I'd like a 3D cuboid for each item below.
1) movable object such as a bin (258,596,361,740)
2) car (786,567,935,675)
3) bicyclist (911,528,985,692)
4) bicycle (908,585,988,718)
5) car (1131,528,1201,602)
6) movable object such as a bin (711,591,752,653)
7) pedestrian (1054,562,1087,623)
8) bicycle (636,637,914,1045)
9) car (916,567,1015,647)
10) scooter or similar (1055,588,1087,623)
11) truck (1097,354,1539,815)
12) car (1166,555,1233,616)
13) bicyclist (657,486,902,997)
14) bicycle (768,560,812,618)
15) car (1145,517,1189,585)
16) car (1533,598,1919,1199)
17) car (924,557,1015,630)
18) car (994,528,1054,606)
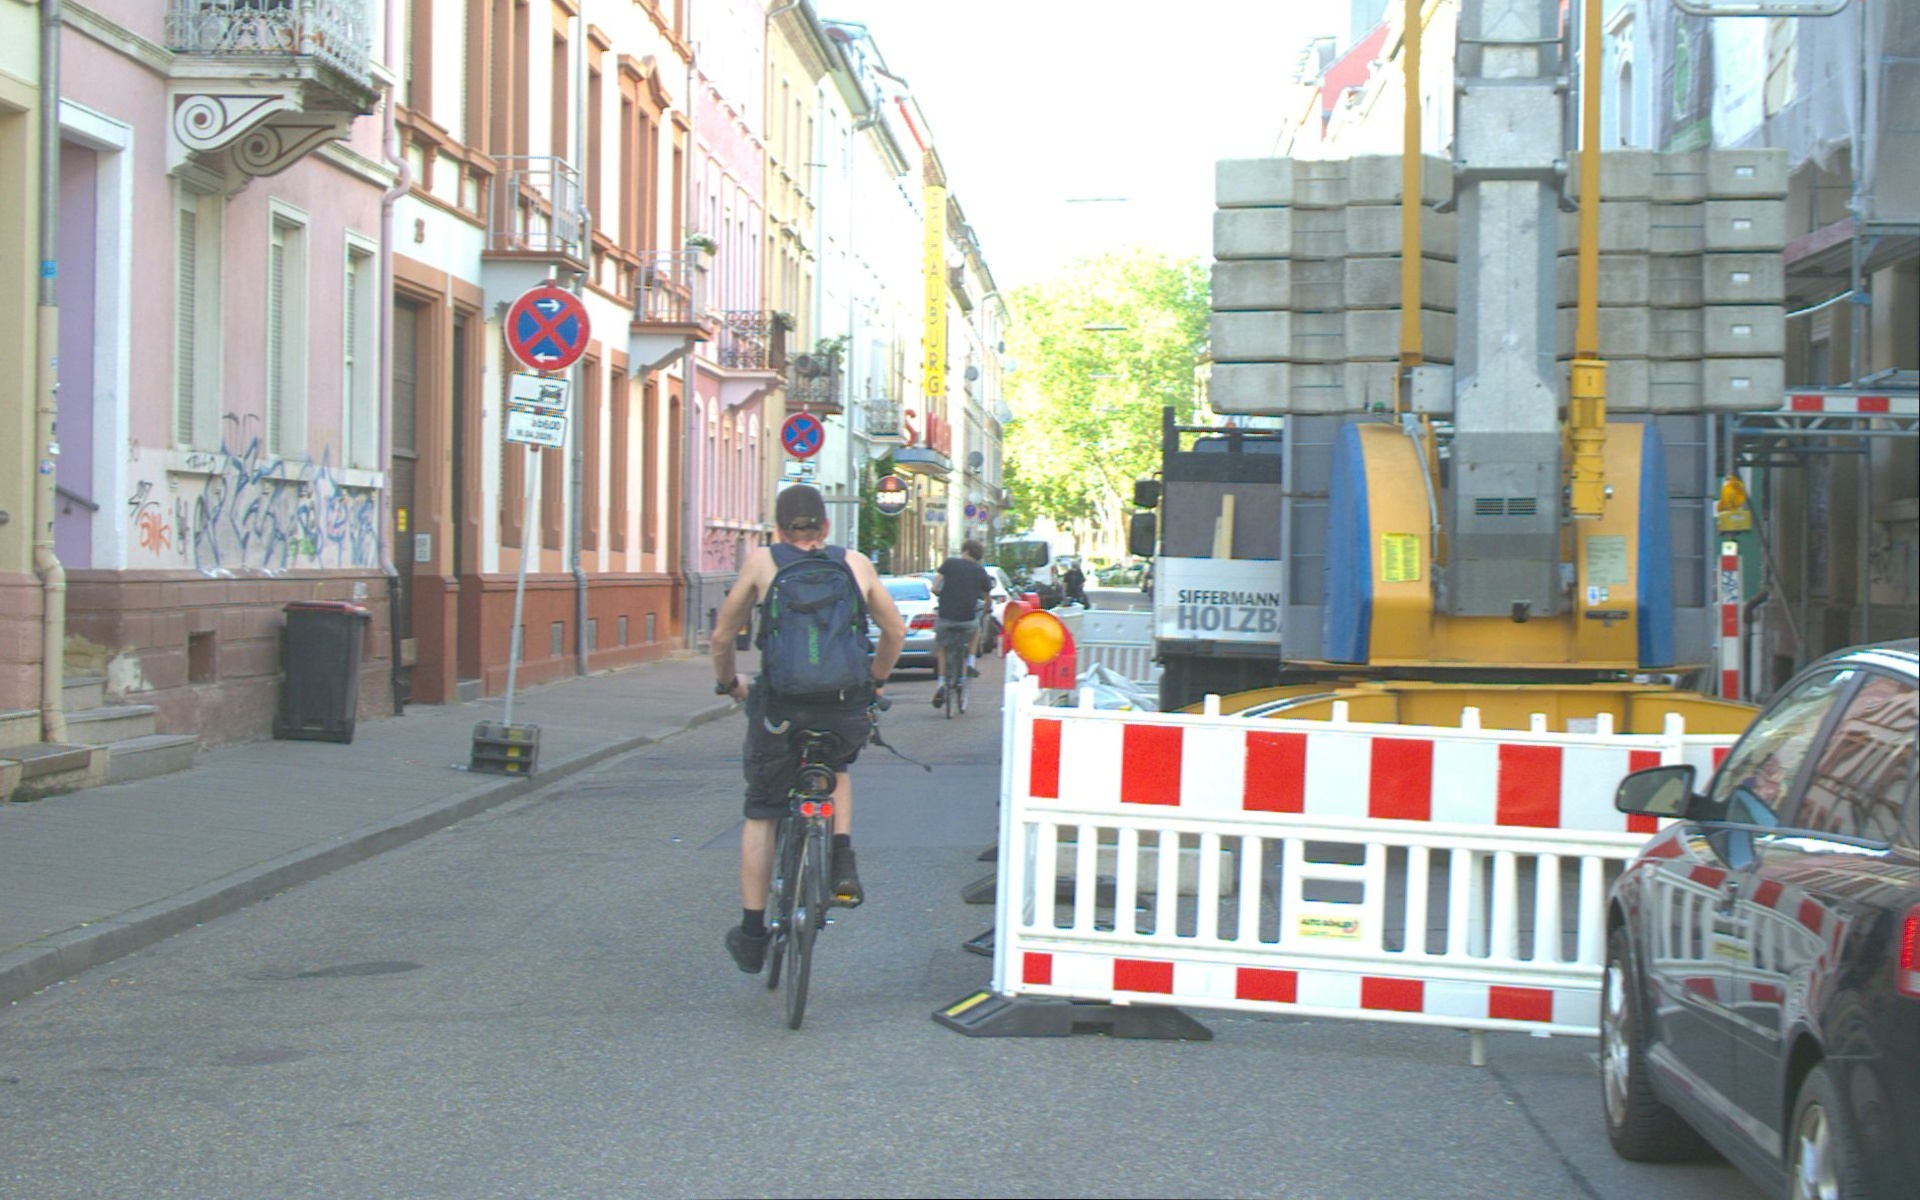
[{"bbox_3d":[-4.840,0.501,25.611,0.605,1.032,0.596,2,0,1],"label":"movable object such as a bin"},{"bbox_3d":[-1.318,0.265,47.166,1.710,1.378,4.505,-1,0,2],"label":"car"},{"bbox_3d":[-0.114,0.092,34.027,0.702,1.599,0.813,0,2,2],"label":"bicyclist"},{"bbox_3d":[-0.104,0.487,34.026,0.702,1.203,2.342,0,2,2],"label":"bicycle"},{"bbox_3d":[7.316,-1.224,122.603,2.308,2.529,6.769,-1,0,2],"label":"car"},{"bbox_3d":[-3.525,0.337,53.009,0.543,0.941,0.487,2,0,4],"label":"movable object such as a bin"},{"bbox_3d":[2.921,-0.203,90.868,0.770,1.573,0.900,2,0,-1],"label":"pedestrian"},{"bbox_3d":[-0.581,0.749,11.659,0.702,1.204,2.342,0,0,3],"label":"bicycle"},{"bbox_3d":[0.135,0.116,64.597,1.672,1.437,4.165,-1,0,2],"label":"car"},{"bbox_3d":[2.926,0.145,90.444,0.770,0.870,0.771,2,0,-1],"label":"scooter or similar"},{"bbox_3d":[2.436,-0.122,25.333,2.662,2.804,7.392,2,0,3],"label":"truck"},{"bbox_3d":[6.288,-0.375,90.482,1.621,1.545,4.000,-1,0,2],"label":"car"},{"bbox_3d":[-0.586,0.450,11.513,0.702,1.628,1.090,0,0,3],"label":"bicyclist"},{"bbox_3d":[-3.281,-0.217,66.423,0.592,1.085,2.079,2,0,3],"label":"bicycle"},{"bbox_3d":[11.784,-2.761,195.629,2.308,3.755,6.769,-1,0,2],"label":"car"},{"bbox_3d":[2.449,0.759,7.610,1.772,1.429,4.034,2,1,2],"label":"car"},{"bbox_3d":[0.220,-0.139,70.363,1.672,1.437,3.768,-1,0,2],"label":"car"},{"bbox_3d":[2.052,-1.070,111.721,1.909,2.488,4.165,0,1,1],"label":"car"}]
